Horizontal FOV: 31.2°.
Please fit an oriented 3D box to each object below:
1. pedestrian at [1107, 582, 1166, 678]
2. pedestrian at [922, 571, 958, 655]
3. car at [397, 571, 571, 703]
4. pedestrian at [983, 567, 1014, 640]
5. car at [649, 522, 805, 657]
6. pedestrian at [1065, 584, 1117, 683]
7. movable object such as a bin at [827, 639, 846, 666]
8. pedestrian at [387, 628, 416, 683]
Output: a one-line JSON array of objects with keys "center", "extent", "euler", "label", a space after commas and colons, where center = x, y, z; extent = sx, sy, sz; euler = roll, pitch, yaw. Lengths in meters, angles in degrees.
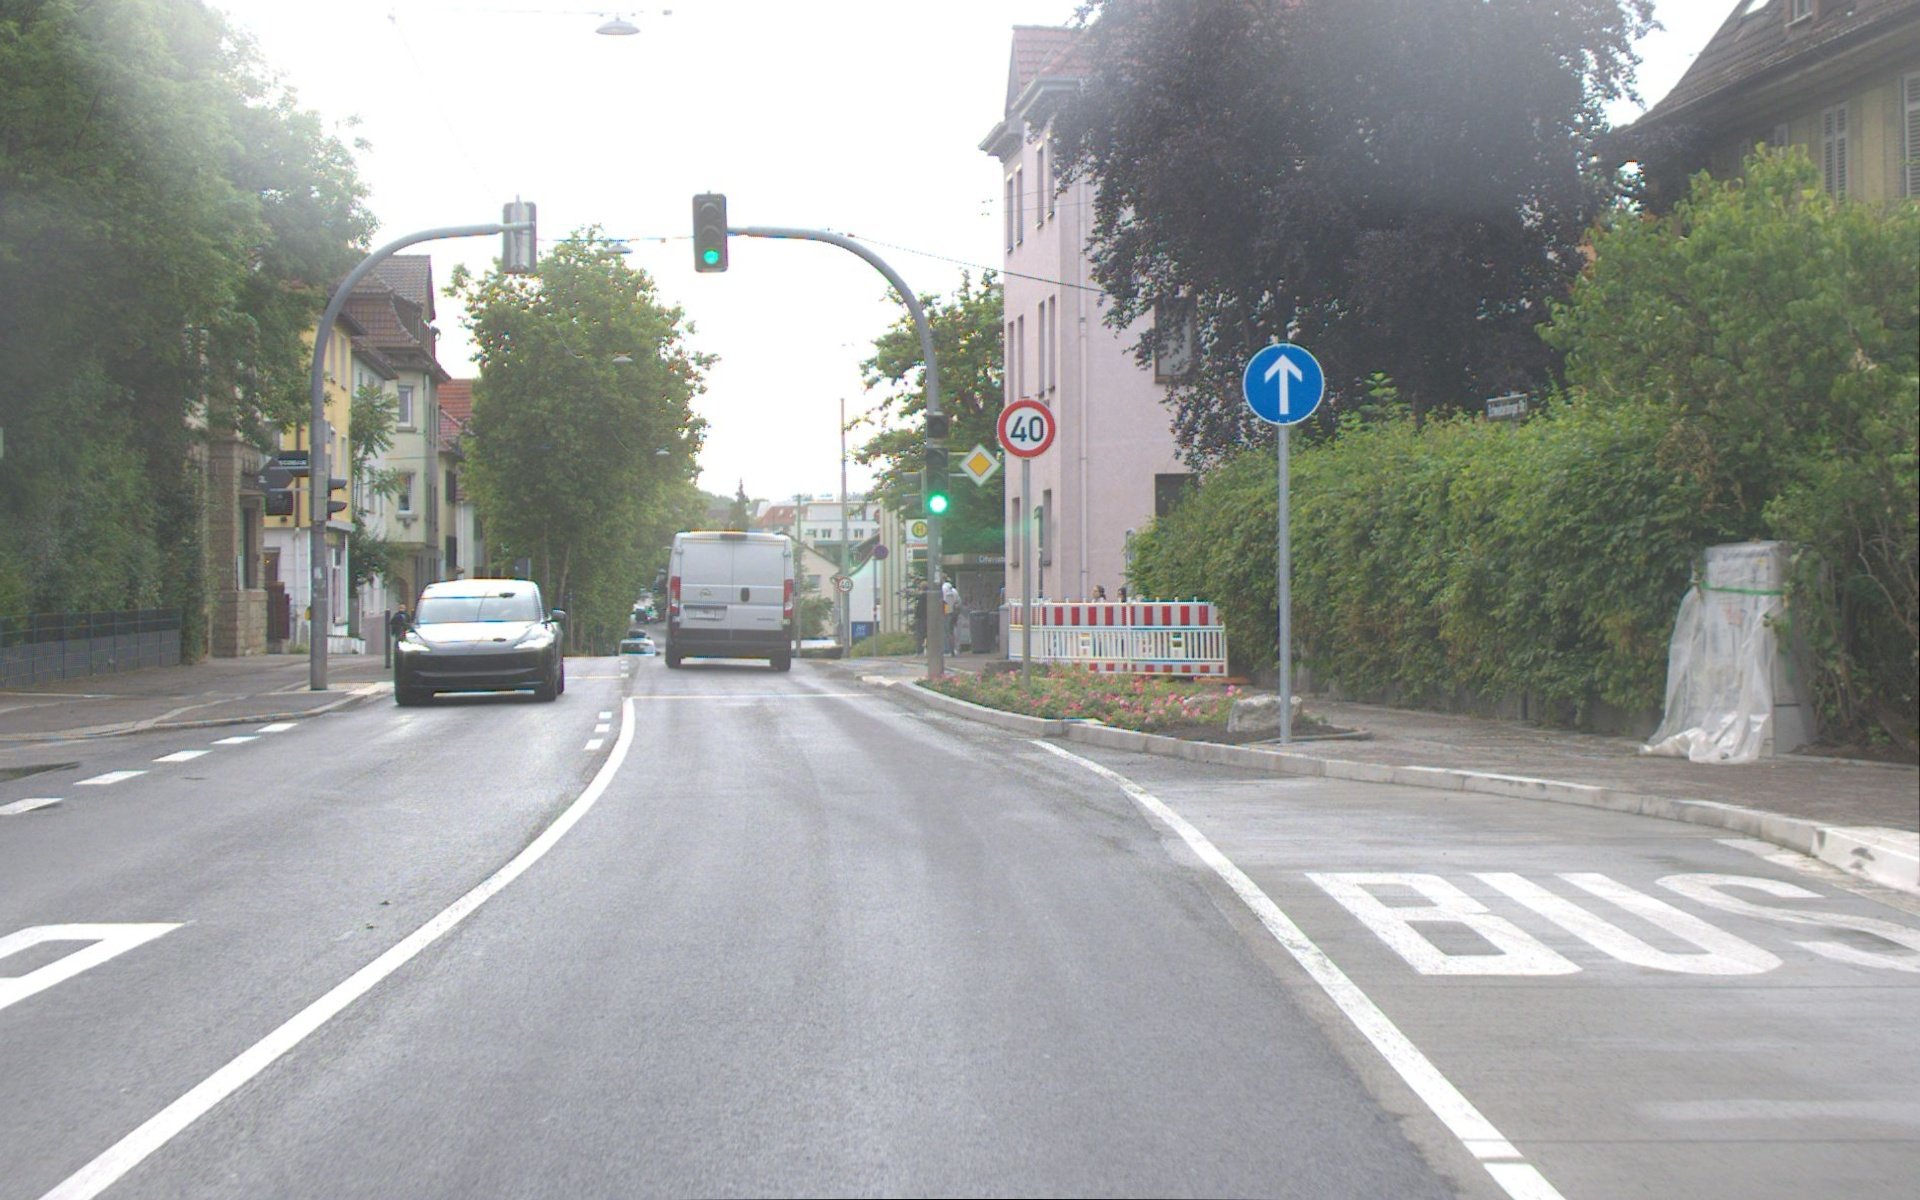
[{"center": [2.911, 0.489, 56.714], "extent": [0.875, 1.555, 1.049], "euler": [1, -1, -1], "label": "pedestrian"}, {"center": [-0.452, 0.283, 77.597], "extent": [0.487, 1.869, 0.632], "euler": [-3, 0, 27], "label": "pedestrian"}, {"center": [-5.572, 0.394, 40.678], "extent": [1.783, 1.447, 4.390], "euler": [0, 1, -5], "label": "car"}, {"center": [0.969, 0.079, 87.027], "extent": [0.647, 1.825, 0.741], "euler": [-2, -1, 9], "label": "pedestrian"}, {"center": [-3.947, -0.167, 57.572], "extent": [2.346, 2.153, 4.778], "euler": [0, 0, -7], "label": "car"}, {"center": [2.201, 0.560, 57.939], "extent": [0.784, 1.636, 1.222], "euler": [1, -1, -1], "label": "pedestrian"}, {"center": [-5.103, 2.175, 142.013], "extent": [0.695, 1.078, 0.778], "euler": [-3, -2, -4], "label": "movable object such as a bin"}, {"center": [-17.432, 1.732, 107.327], "extent": [0.815, 1.674, 0.993], "euler": [1, -2, -7], "label": "pedestrian"}]
